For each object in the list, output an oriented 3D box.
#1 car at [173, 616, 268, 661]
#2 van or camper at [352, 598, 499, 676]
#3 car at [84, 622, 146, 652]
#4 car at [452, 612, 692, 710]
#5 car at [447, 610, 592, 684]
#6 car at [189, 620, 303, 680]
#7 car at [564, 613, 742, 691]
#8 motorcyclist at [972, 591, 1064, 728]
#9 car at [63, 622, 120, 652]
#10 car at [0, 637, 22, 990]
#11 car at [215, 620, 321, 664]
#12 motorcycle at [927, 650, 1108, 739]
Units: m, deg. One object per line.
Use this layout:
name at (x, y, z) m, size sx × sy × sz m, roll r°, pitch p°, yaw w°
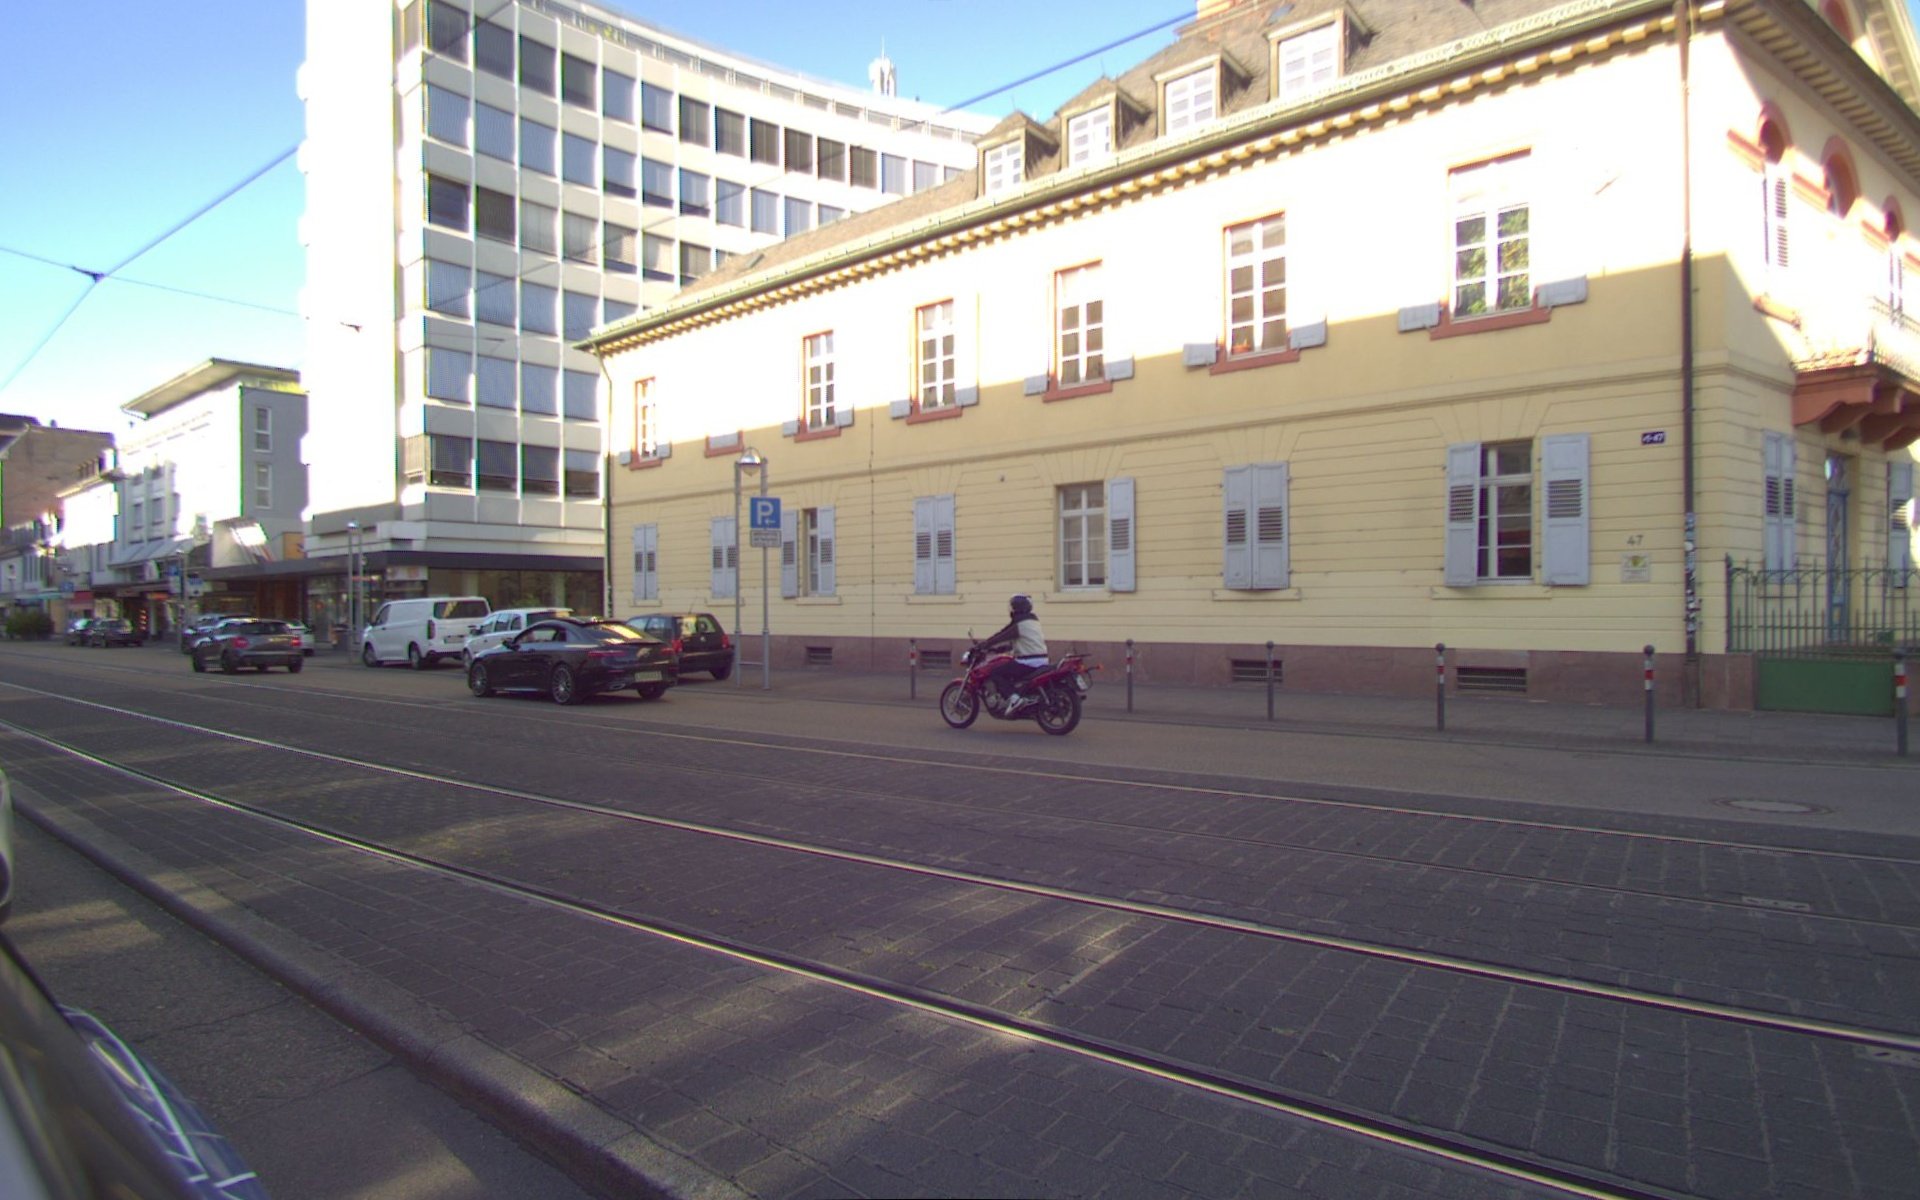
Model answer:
car at (-29.924, 1.514, 40.916) m, size 4.275 × 1.654 × 1.908 m, roll -1°, pitch 1°, yaw 37°
van or camper at (-15.391, 1.005, 29.040) m, size 4.792 × 1.988 × 1.936 m, roll -1°, pitch 1°, yaw 39°
car at (-43.654, 1.877, 52.258) m, size 3.593 × 1.427 × 1.764 m, roll -1°, pitch 0°, yaw 38°
car at (-6.902, 1.007, 17.808) m, size 4.662 × 1.521 × 1.760 m, roll -1°, pitch -2°, yaw 37°
car at (-11.100, 1.107, 25.379) m, size 4.175 × 1.632 × 1.758 m, roll -1°, pitch 1°, yaw 42°
car at (-19.663, 1.340, 27.824) m, size 3.859 × 1.521 × 1.757 m, roll -2°, pitch -2°, yaw 42°
car at (-6.625, 1.042, 21.674) m, size 3.958 × 1.450 × 1.759 m, roll -1°, pitch 1°, yaw 40°
motorcyclist at (0.696, 0.681, 12.112) m, size 0.881 × 1.570 × 0.647 m, roll -1°, pitch 0°, yaw 31°
car at (-47.951, 2.000, 55.836) m, size 3.830 × 1.531 × 1.764 m, roll -1°, pitch 0°, yaw 40°
car at (-6.347, 0.891, 5.062) m, size 4.771 × 1.450 × 1.845 m, roll -1°, pitch -2°, yaw 40°
car at (-25.705, 1.519, 37.561) m, size 4.285 × 1.463 × 1.909 m, roll -1°, pitch 1°, yaw 36°
motorcycle at (0.663, 1.097, 12.160) m, size 2.149 × 0.933 × 0.594 m, roll -1°, pitch 0°, yaw 32°
